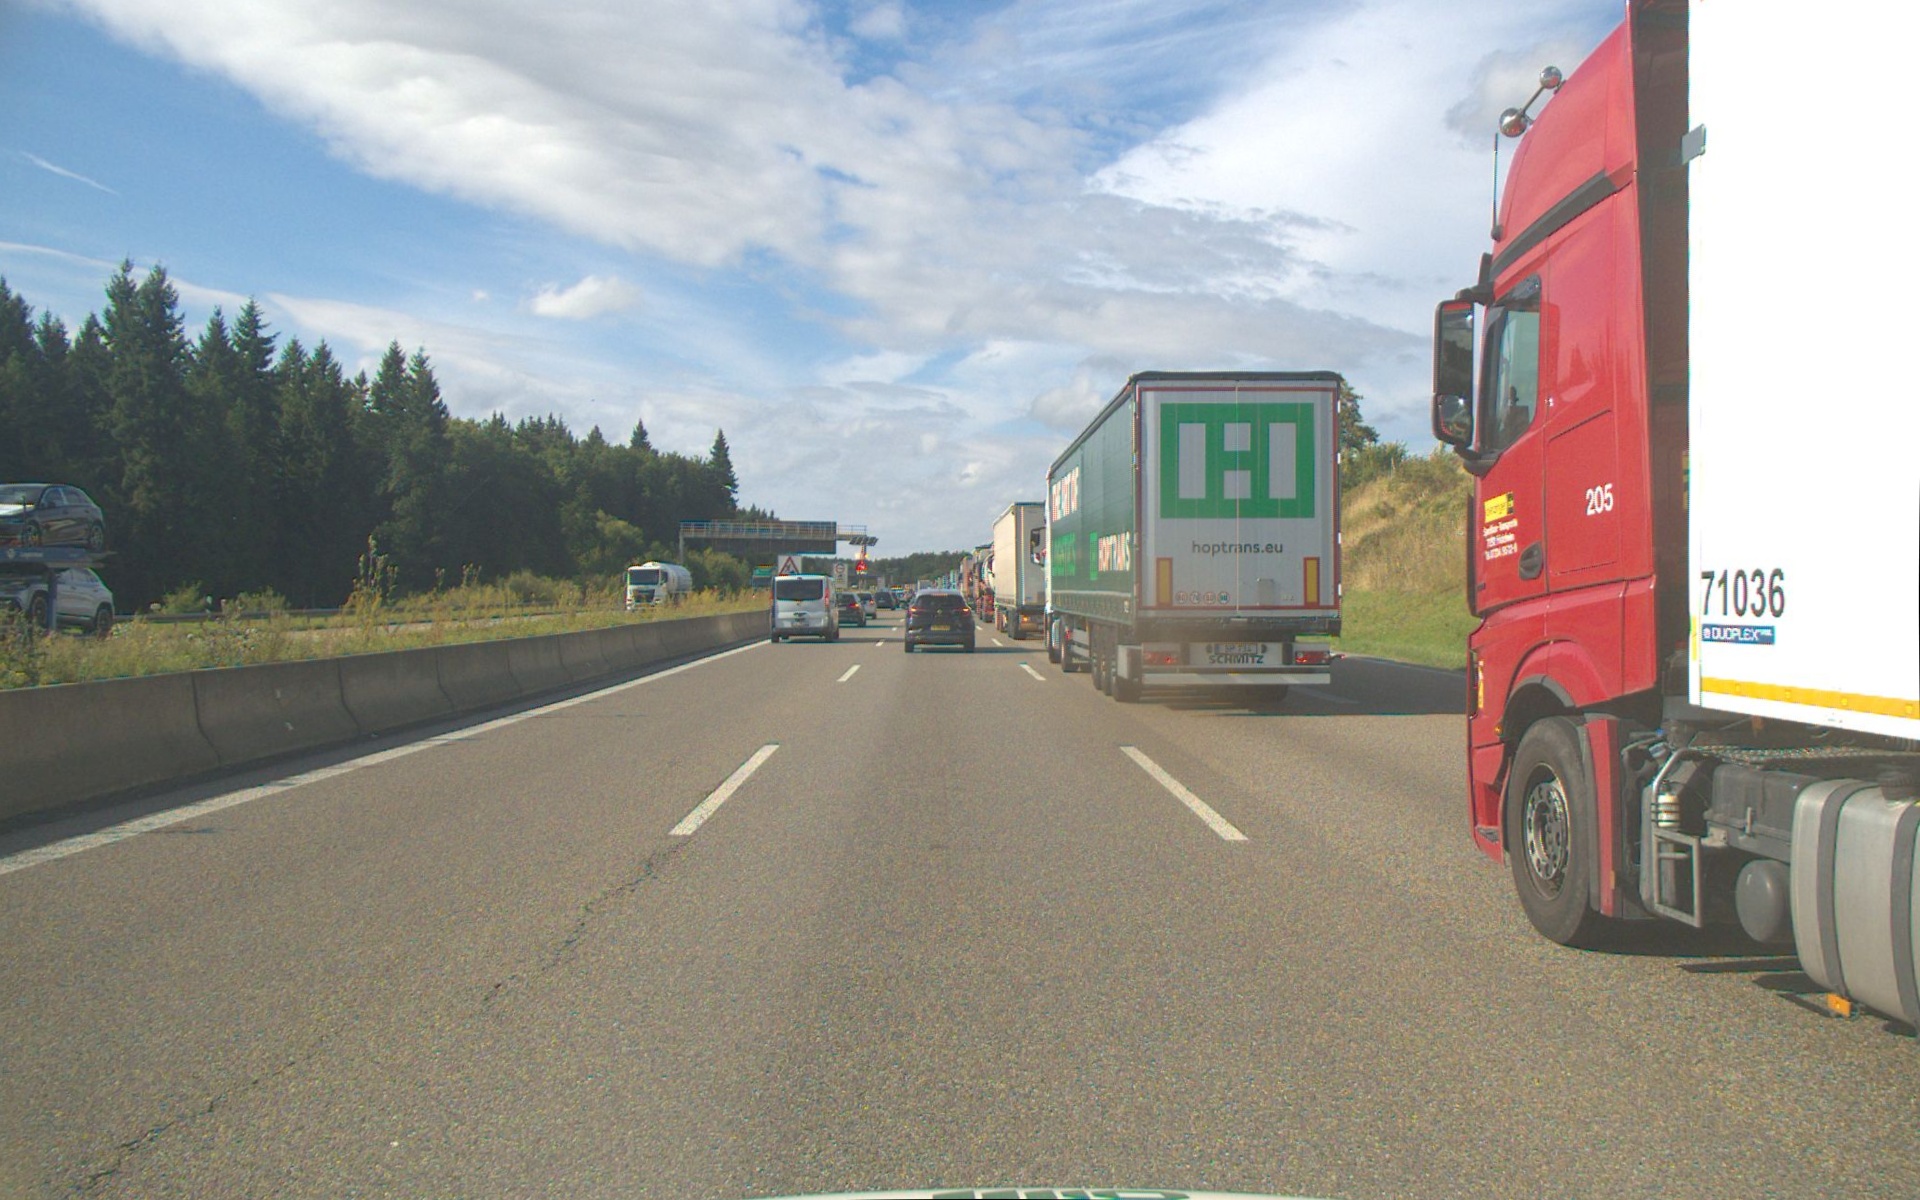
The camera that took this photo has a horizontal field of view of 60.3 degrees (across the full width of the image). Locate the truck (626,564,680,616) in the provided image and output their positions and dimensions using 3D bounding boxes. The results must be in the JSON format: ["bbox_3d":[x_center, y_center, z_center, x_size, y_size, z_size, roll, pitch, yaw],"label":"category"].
[{"bbox_3d":[-20.241,-0.685,109.272,2.269,3.331,6.106,0,0,1],"label":"truck"}]

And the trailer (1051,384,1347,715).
[{"bbox_3d":[3.214,-0.612,26.420,2.607,3.936,13.392,0,0,-1],"label":"trailer"}]

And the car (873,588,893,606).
[{"bbox_3d":[-5.915,-0.246,127.102,1.406,1.333,3.532,3,0,-1],"label":"car"}]

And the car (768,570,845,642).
[{"bbox_3d":[-4.691,0.182,51.099,1.894,2.013,5.097,3,0,-1],"label":"car"}]

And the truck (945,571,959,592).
[{"bbox_3d":[-1.168,-2.795,249.089,1.953,3.105,4.981,3,0,0],"label":"truck"}]

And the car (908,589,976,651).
[{"bbox_3d":[-0.476,0.491,42.552,1.662,1.509,4.159,0,0,-1],"label":"car"}]

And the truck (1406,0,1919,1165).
[{"bbox_3d":[3.857,-0.517,6.050,2.745,4.008,5.824,1,0,-1],"label":"truck"}]

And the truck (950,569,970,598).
[{"bbox_3d":[0.000,-1.795,177.504,1.953,2.983,4.981,3,0,0],"label":"truck"}]

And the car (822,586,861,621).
[{"bbox_3d":[-4.991,0.158,69.914,1.469,1.420,3.475,-1,0,-1],"label":"car"}]

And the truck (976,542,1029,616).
[{"bbox_3d":[2.143,-1.063,85.933,2.482,3.646,6.728,-1,0,-1],"label":"truck"}]

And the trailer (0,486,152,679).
[{"bbox_3d":[-19.242,-0.313,32.172,2.742,3.590,8.952,0,0,-1],"label":"trailer"}]

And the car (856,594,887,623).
[{"bbox_3d":[-4.759,0.452,88.843,1.470,1.420,3.475,3,0,-1],"label":"car"}]

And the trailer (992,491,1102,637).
[{"bbox_3d":[2.629,-1.090,54.110,2.648,4.153,12.942,-1,0,-1],"label":"trailer"}]

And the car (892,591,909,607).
[{"bbox_3d":[-5.250,-0.095,145.974,1.406,1.333,3.532,3,0,-1],"label":"car"}]

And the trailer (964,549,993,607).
[{"bbox_3d":[1.393,-1.656,128.256,2.106,4.333,8.439,0,0,0],"label":"trailer"}]

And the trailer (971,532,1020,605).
[{"bbox_3d":[2.162,-1.859,104.255,2.745,4.318,11.056,-1,0,0],"label":"trailer"}]

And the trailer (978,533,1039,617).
[{"bbox_3d":[2.229,-1.124,79.662,2.489,3.717,10.625,-1,0,-1],"label":"trailer"}]

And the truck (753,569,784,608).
[{"bbox_3d":[-22.079,-1.305,191.208,2.656,4.318,10.341,-1,0,-2],"label":"truck"}]

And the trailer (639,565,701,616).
[{"bbox_3d":[-20.038,-0.669,114.845,2.273,3.342,10.877,0,0,1],"label":"trailer"}]

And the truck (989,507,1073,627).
[{"bbox_3d":[2.533,-1.158,60.723,2.653,4.130,6.360,-1,0,-1],"label":"truck"}]

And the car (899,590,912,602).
[{"bbox_3d":[-6.324,-0.510,192.050,1.333,1.323,3.084,3,0,-1],"label":"car"}]

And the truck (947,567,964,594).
[{"bbox_3d":[-0.568,-2.399,204.997,1.953,3.105,4.981,3,0,0],"label":"truck"}]

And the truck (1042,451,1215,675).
[{"bbox_3d":[3.128,-0.657,32.563,2.593,3.936,6.995,0,0,-1],"label":"truck"}]
